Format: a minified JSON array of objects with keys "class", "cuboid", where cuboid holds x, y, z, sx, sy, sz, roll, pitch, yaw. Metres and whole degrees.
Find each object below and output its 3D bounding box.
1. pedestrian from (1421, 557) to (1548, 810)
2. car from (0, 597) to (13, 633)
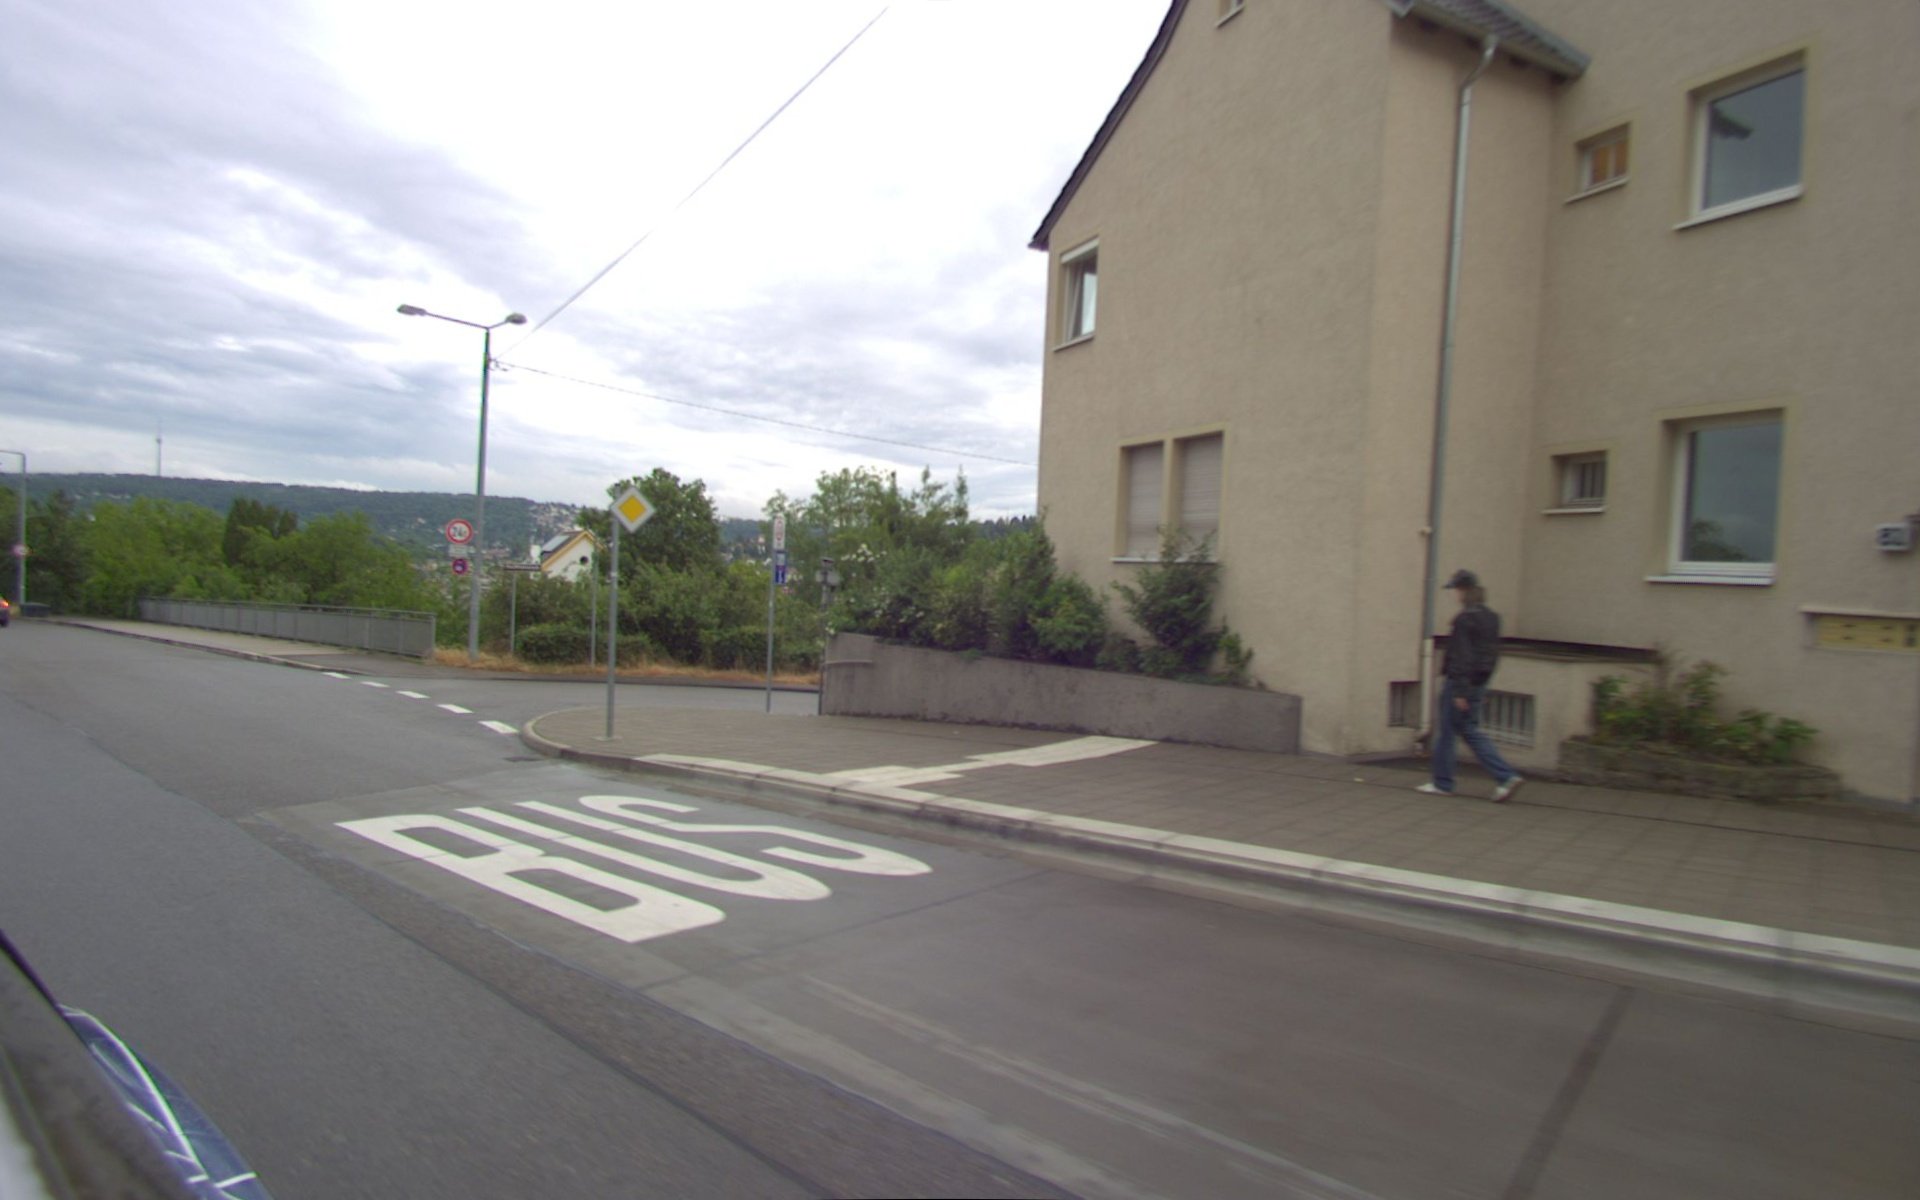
[{"class":"pedestrian","cuboid":[4.149,0.611,8.003,0.728,1.871,0.778,0,0,42]},{"class":"car","cuboid":[-43.438,0.610,44.522,3.990,1.557,1.719,1,-1,34]}]
